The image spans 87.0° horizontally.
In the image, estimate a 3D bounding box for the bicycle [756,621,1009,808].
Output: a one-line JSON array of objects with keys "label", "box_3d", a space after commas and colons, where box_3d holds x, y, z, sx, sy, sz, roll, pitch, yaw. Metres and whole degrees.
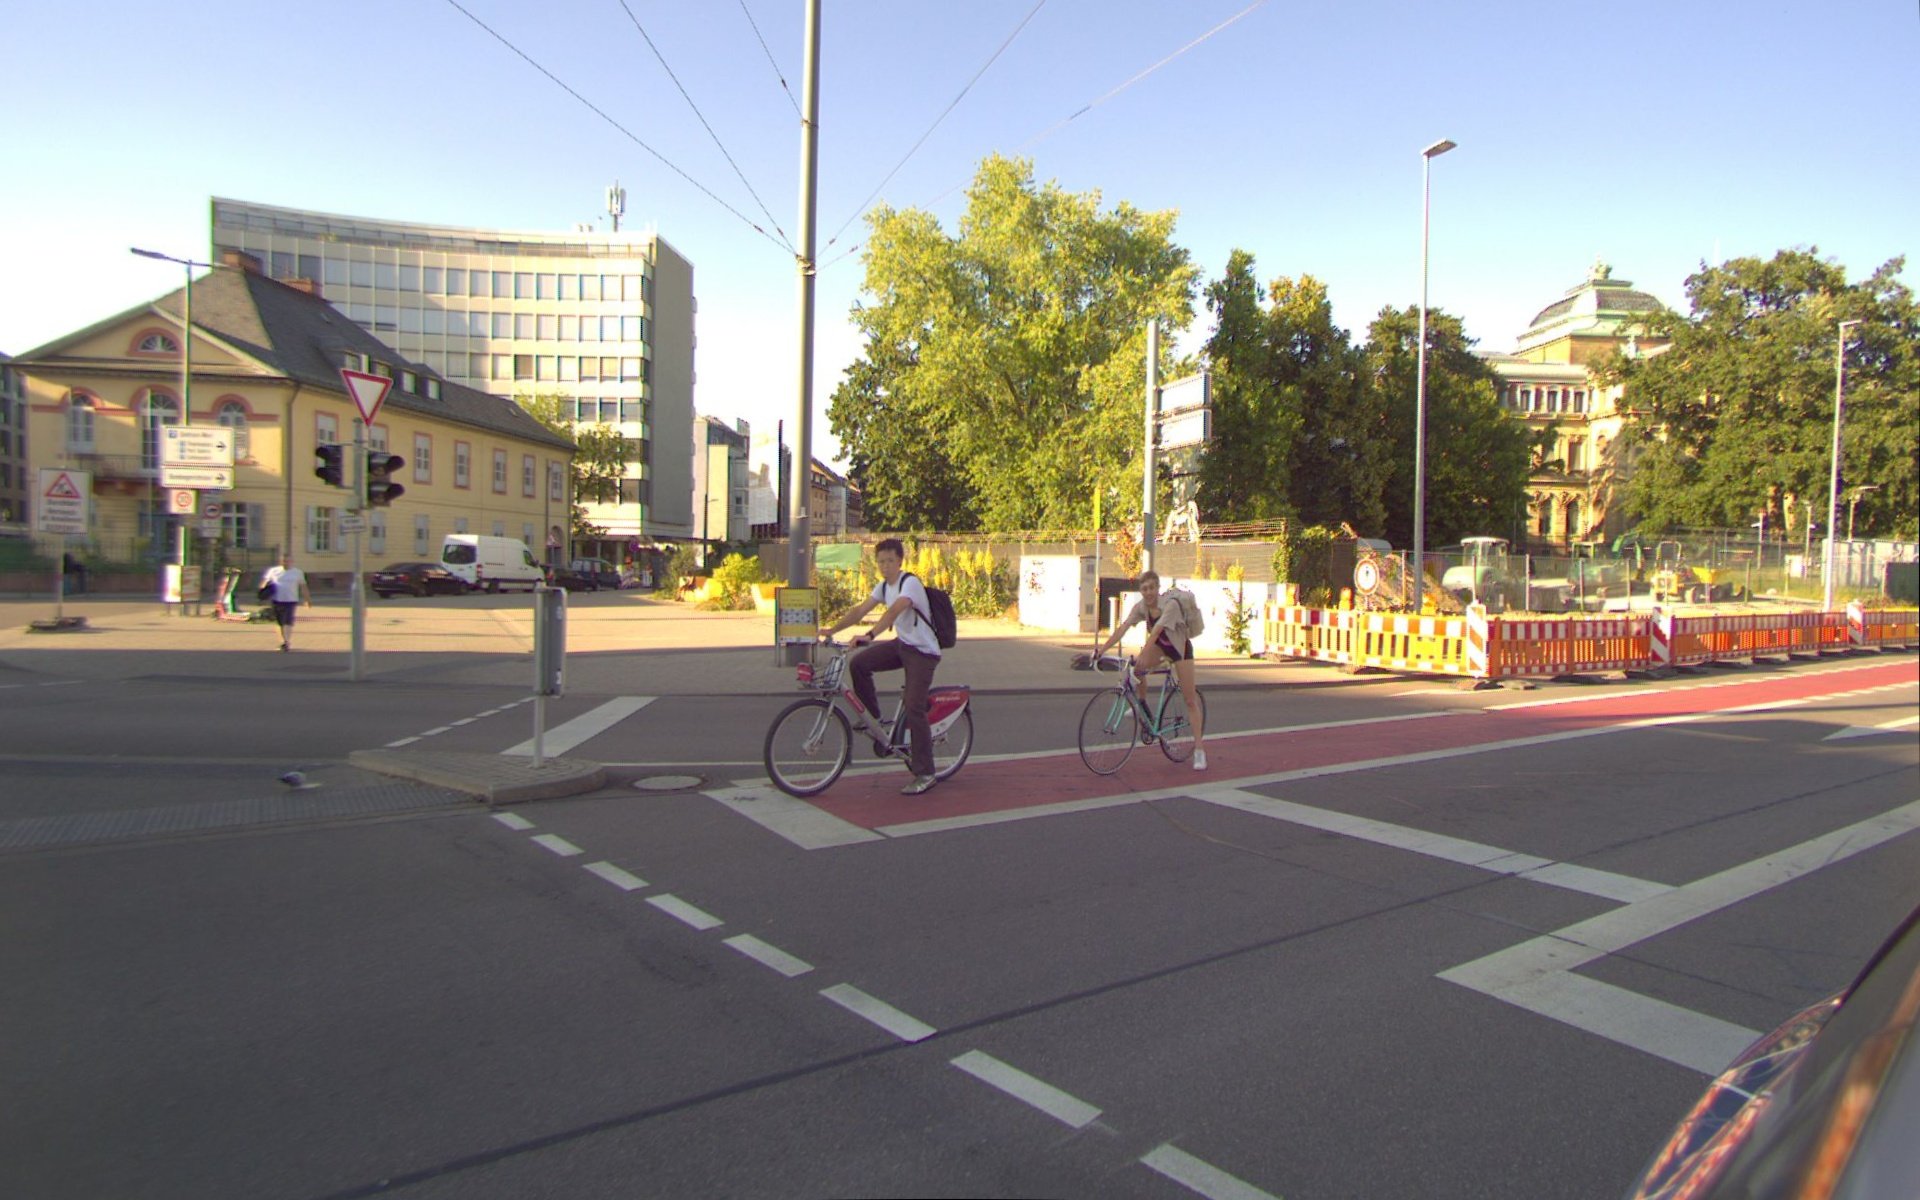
[{"label": "bicycle", "box_3d": [-0.502, 0.735, 7.121, 1.776, 1.114, 0.542, -1, 1, -38]}]

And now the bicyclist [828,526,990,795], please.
[{"label": "bicyclist", "box_3d": [-0.356, 0.392, 7.253, 1.041, 1.790, 0.542, -1, 1, -38]}]

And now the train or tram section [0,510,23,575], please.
[{"label": "train or tram section", "box_3d": [-58.507, -3.356, 58.077, 3.640, 3.880, 13.382, 0, 3, -28]}]

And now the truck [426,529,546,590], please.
[{"label": "truck", "box_3d": [-21.433, -1.773, 46.094, 2.262, 2.580, 5.628, 0, 1, 8]}]

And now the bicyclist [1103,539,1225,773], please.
[{"label": "bicyclist", "box_3d": [1.642, 0.415, 8.148, 0.778, 1.768, 0.615, -1, 1, -38]}]

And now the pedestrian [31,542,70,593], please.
[{"label": "pedestrian", "box_3d": [-30.526, -1.086, 33.982, 0.680, 1.663, 0.809, 0, 1, 31]}]

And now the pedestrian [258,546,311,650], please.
[{"label": "pedestrian", "box_3d": [-11.907, -0.045, 17.832, 0.747, 1.784, 1.007, 0, 1, -36]}]

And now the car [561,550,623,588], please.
[{"label": "car", "box_3d": [-20.332, -1.693, 56.131, 1.685, 2.005, 3.754, 0, 1, 8]}]

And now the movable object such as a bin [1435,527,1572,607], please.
[{"label": "movable object such as a bin", "box_3d": [19.531, -1.161, 36.304, 4.913, 2.717, 2.002, -1, 1, -29]}]

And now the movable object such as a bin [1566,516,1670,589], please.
[{"label": "movable object such as a bin", "box_3d": [31.840, -2.232, 48.951, 5.266, 3.371, 2.002, -1, 1, -29]}]

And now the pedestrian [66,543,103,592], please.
[{"label": "pedestrian", "box_3d": [-30.023, -1.102, 34.719, 0.681, 1.663, 0.808, 0, 1, 34]}]

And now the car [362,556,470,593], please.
[{"label": "car", "box_3d": [-21.620, -0.990, 40.396, 1.685, 1.381, 4.186, 0, 1, 8]}]

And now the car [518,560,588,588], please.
[{"label": "car", "box_3d": [-20.787, -1.302, 51.811, 1.685, 1.381, 3.754, 0, 1, 8]}]

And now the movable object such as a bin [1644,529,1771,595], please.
[{"label": "movable object such as a bin", "box_3d": [33.741, -1.691, 45.687, 5.745, 2.851, 2.004, -1, 1, -23]}]

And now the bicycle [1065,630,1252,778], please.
[{"label": "bicycle", "box_3d": [1.636, 0.790, 8.189, 1.663, 1.013, 0.542, -1, 1, -38]}]
